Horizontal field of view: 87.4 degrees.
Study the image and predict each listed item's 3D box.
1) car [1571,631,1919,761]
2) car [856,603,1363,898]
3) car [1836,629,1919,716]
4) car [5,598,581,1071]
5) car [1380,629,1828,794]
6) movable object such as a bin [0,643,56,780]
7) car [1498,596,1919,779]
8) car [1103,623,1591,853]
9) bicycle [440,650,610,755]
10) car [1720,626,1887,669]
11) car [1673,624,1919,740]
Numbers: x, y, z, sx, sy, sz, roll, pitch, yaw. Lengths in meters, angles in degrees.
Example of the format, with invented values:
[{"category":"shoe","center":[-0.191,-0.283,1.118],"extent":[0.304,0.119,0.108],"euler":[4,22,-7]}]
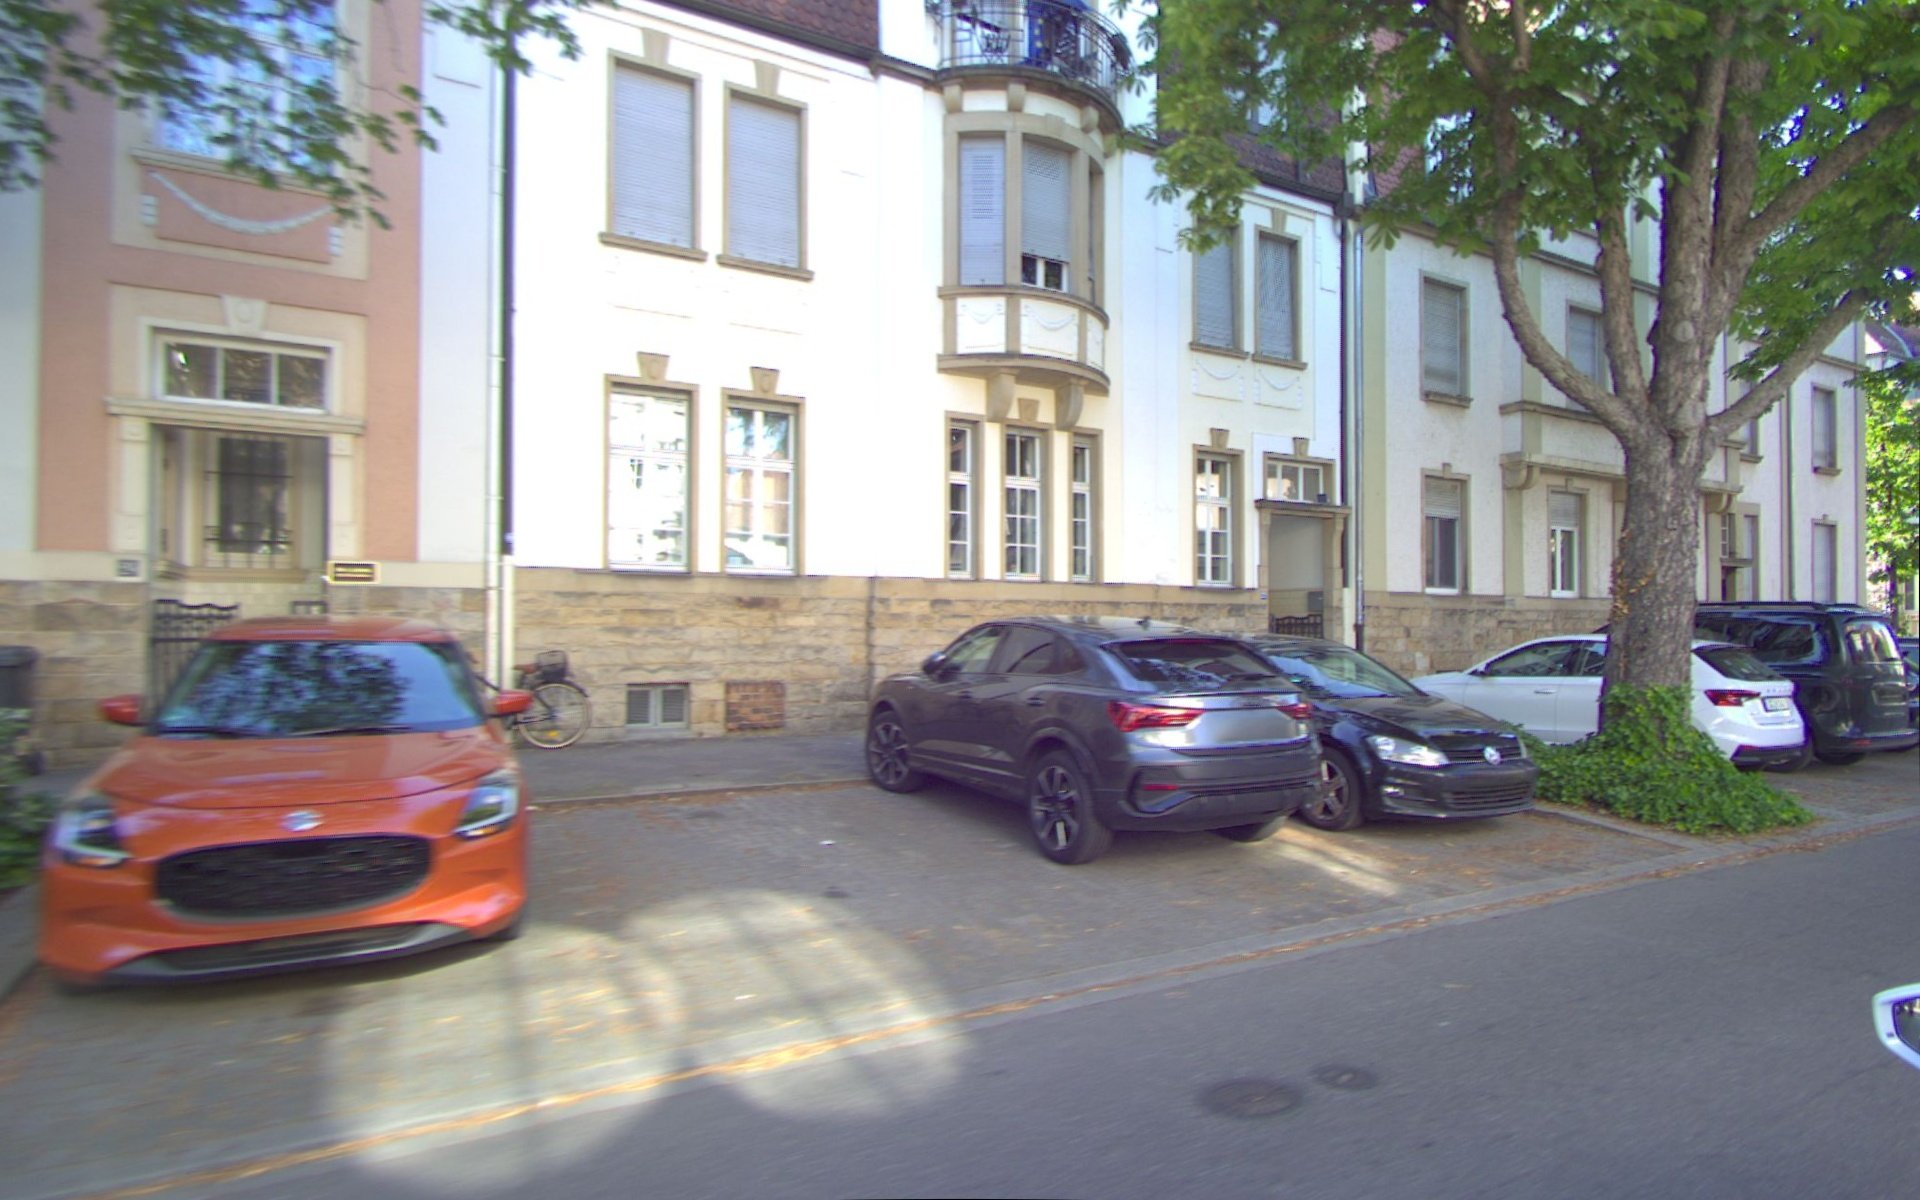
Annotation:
[{"category":"car","center":[10.983,1.194,13.892],"extent":[1.808,1.456,3.960],"euler":[2,-1,-31]},{"category":"car","center":[0.829,0.855,7.755],"extent":[1.837,1.613,3.969],"euler":[1,0,-29]},{"category":"car","center":[17.787,1.282,17.374],"extent":[1.621,1.507,3.659],"euler":[1,-1,-29]},{"category":"car","center":[-3.269,0.800,5.440],"extent":[1.726,1.534,3.970],"euler":[2,-1,-28]},{"category":"car","center":[7.075,1.099,11.456],"extent":[1.723,1.467,3.965],"euler":[2,-1,-32]},{"category":"movable object such as a bin","center":[-7.748,0.872,8.029],"extent":[0.606,1.049,0.684],"euler":[1,-1,-29]},{"category":"car","center":[9.129,0.941,12.493],"extent":[1.807,1.880,3.961],"euler":[2,-1,-30]},{"category":"car","center":[3.090,0.984,8.903],"extent":[1.833,1.465,3.892],"euler":[1,0,-24]},{"category":"bicycle","center":[-4.335,0.993,10.027],"extent":[1.479,0.944,0.623],"euler":[2,0,-30]},{"category":"car","center":[30.987,1.716,37.057],"extent":[1.779,1.484,4.390],"euler":[1,-2,-27]},{"category":"car","center":[13.395,1.158,14.677],"extent":[1.869,1.523,4.511],"euler":[2,-1,-30]}]
